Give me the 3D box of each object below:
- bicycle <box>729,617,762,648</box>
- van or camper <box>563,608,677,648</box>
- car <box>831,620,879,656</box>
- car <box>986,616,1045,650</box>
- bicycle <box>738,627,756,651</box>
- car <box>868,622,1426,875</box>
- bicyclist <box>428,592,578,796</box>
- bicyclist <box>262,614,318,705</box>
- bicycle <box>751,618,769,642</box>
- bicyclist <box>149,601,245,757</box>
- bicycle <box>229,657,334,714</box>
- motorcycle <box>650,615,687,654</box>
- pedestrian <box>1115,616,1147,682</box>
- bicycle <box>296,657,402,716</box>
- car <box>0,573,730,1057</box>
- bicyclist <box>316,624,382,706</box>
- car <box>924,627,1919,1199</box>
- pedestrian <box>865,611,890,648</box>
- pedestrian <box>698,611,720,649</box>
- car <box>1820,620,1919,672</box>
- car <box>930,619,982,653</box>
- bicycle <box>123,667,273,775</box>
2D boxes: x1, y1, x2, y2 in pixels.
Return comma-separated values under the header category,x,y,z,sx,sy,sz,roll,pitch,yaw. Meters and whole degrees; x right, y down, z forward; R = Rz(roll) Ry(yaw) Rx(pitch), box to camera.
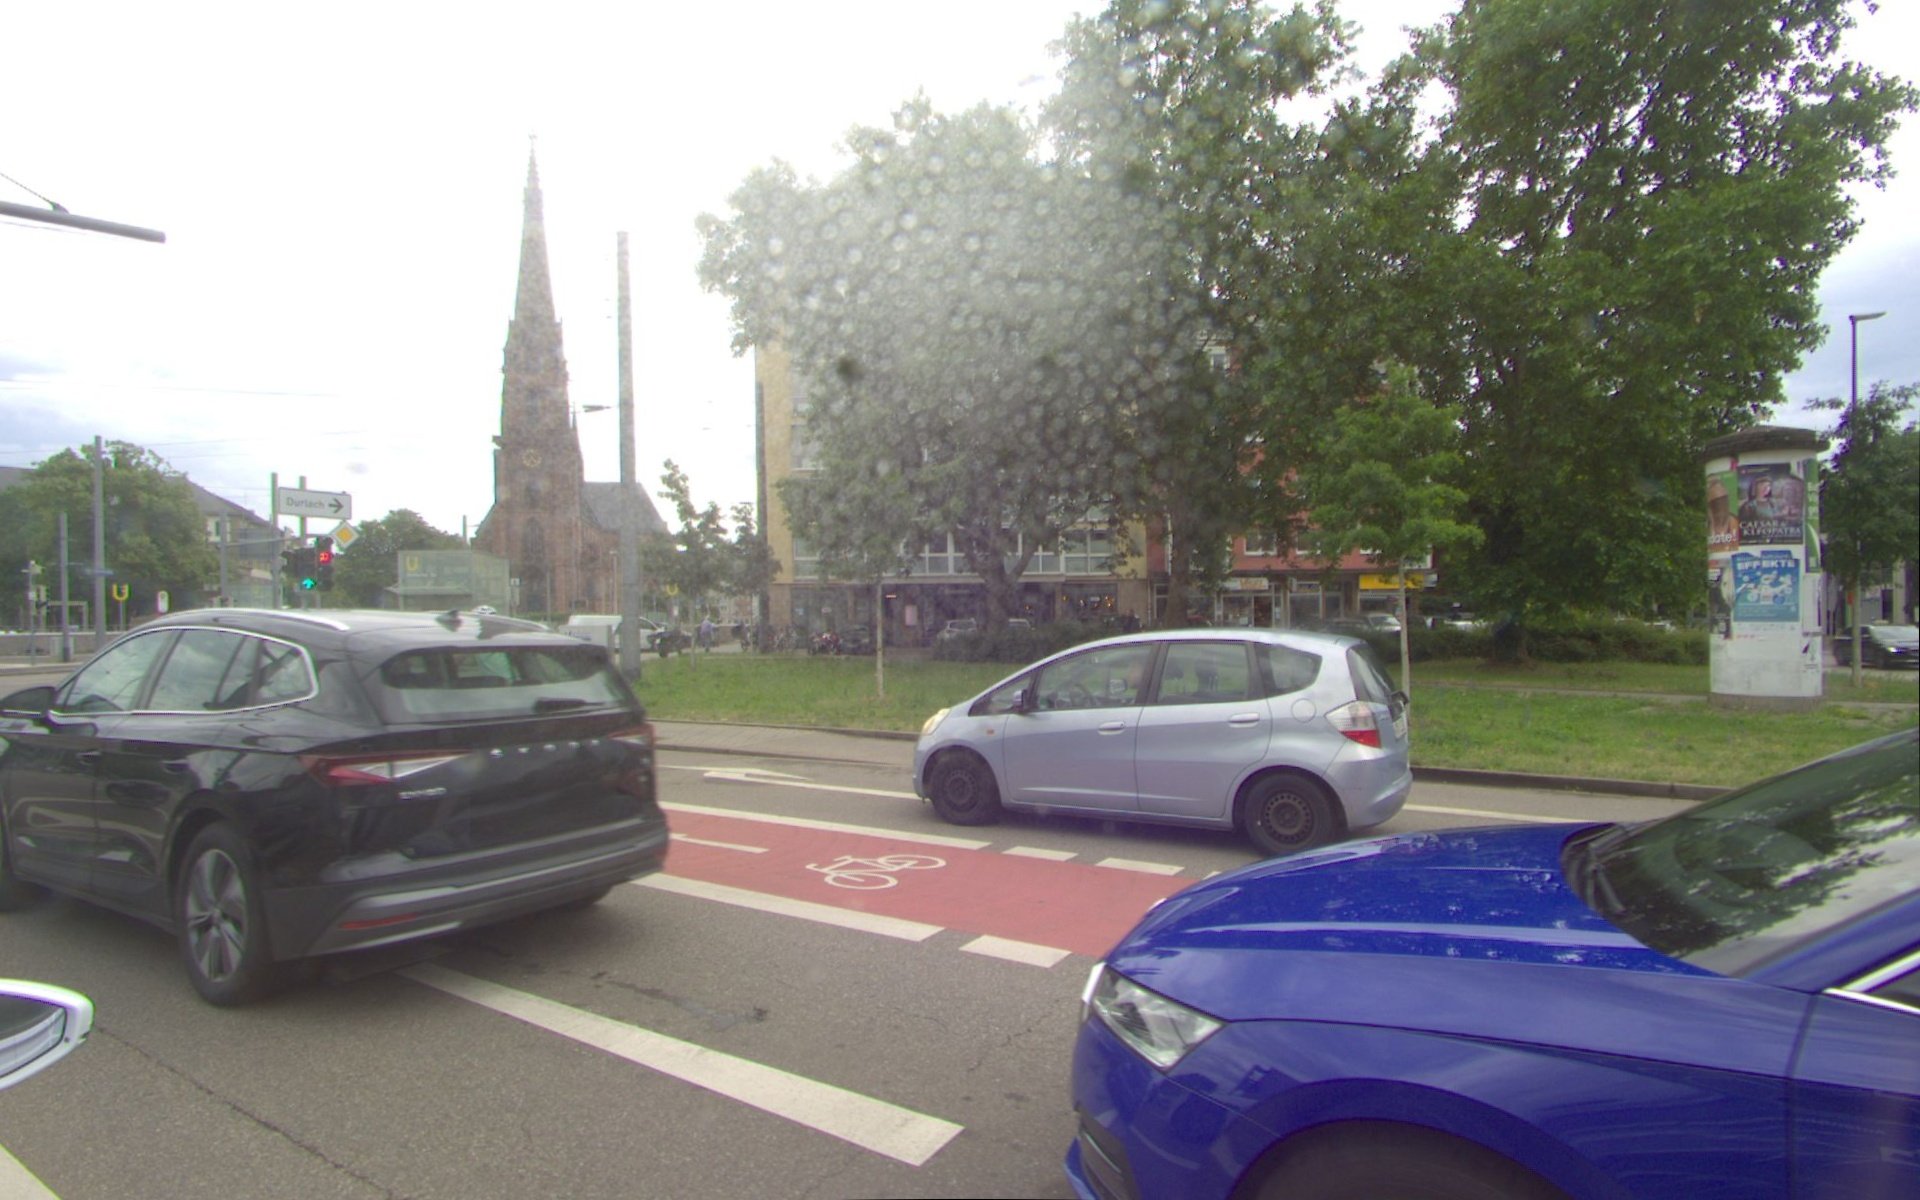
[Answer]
category,x,y,z,sx,sy,sz,roll,pitch,yaw
bicycle,-10.129,1.535,47.428,0.886,1.395,2.784,-1,0,2
van or camper,-18.214,1.493,53.750,5.404,2.004,2.155,0,-1,-39
car,-4.781,1.713,45.926,1.806,1.462,4.166,-1,0,-1
car,2.537,1.517,46.969,1.962,1.461,3.997,-1,0,-9
bicycle,-11.311,2.075,53.224,0.657,1.184,2.040,0,0,-3
car,1.360,0.944,7.679,3.875,1.502,1.703,-1,-2,31
bicyclist,-3.942,0.780,8.659,0.919,1.638,0.788,-1,-2,31
bicyclist,-13.317,1.174,19.915,0.574,1.774,0.735,-1,-1,6
bicycle,-10.631,1.582,53.217,0.657,1.184,2.040,0,0,-3
bicyclist,-8.706,0.872,11.435,0.794,1.713,0.614,0,0,30
bicycle,-13.301,1.651,19.703,0.568,1.011,1.993,-1,-2,6
motorcycle,-10.935,1.259,37.649,1.027,1.384,2.291,-1,0,-9
pedestrian,4.868,1.377,28.588,0.881,1.843,0.866,0,1,8
bicycle,-11.832,1.653,19.464,0.590,1.011,1.945,-1,-1,12
car,-3.565,0.790,5.449,4.449,1.680,1.900,-1,-1,31
bicyclist,-11.821,1.247,19.401,0.659,1.541,0.886,-1,0,12
car,2.362,0.768,1.558,4.689,1.454,1.762,-1,-2,33
pedestrian,-4.102,1.467,49.477,1.032,1.780,0.786,-1,1,-22
pedestrian,-11.645,1.390,46.406,0.797,1.760,0.906,0,0,-2
car,31.327,1.501,33.770,1.858,1.564,4.872,-1,0,20
car,-0.217,1.646,46.637,1.962,1.483,3.999,0,-1,-7
bicycle,-8.763,1.347,11.486,2.094,1.069,0.624,-1,0,31
